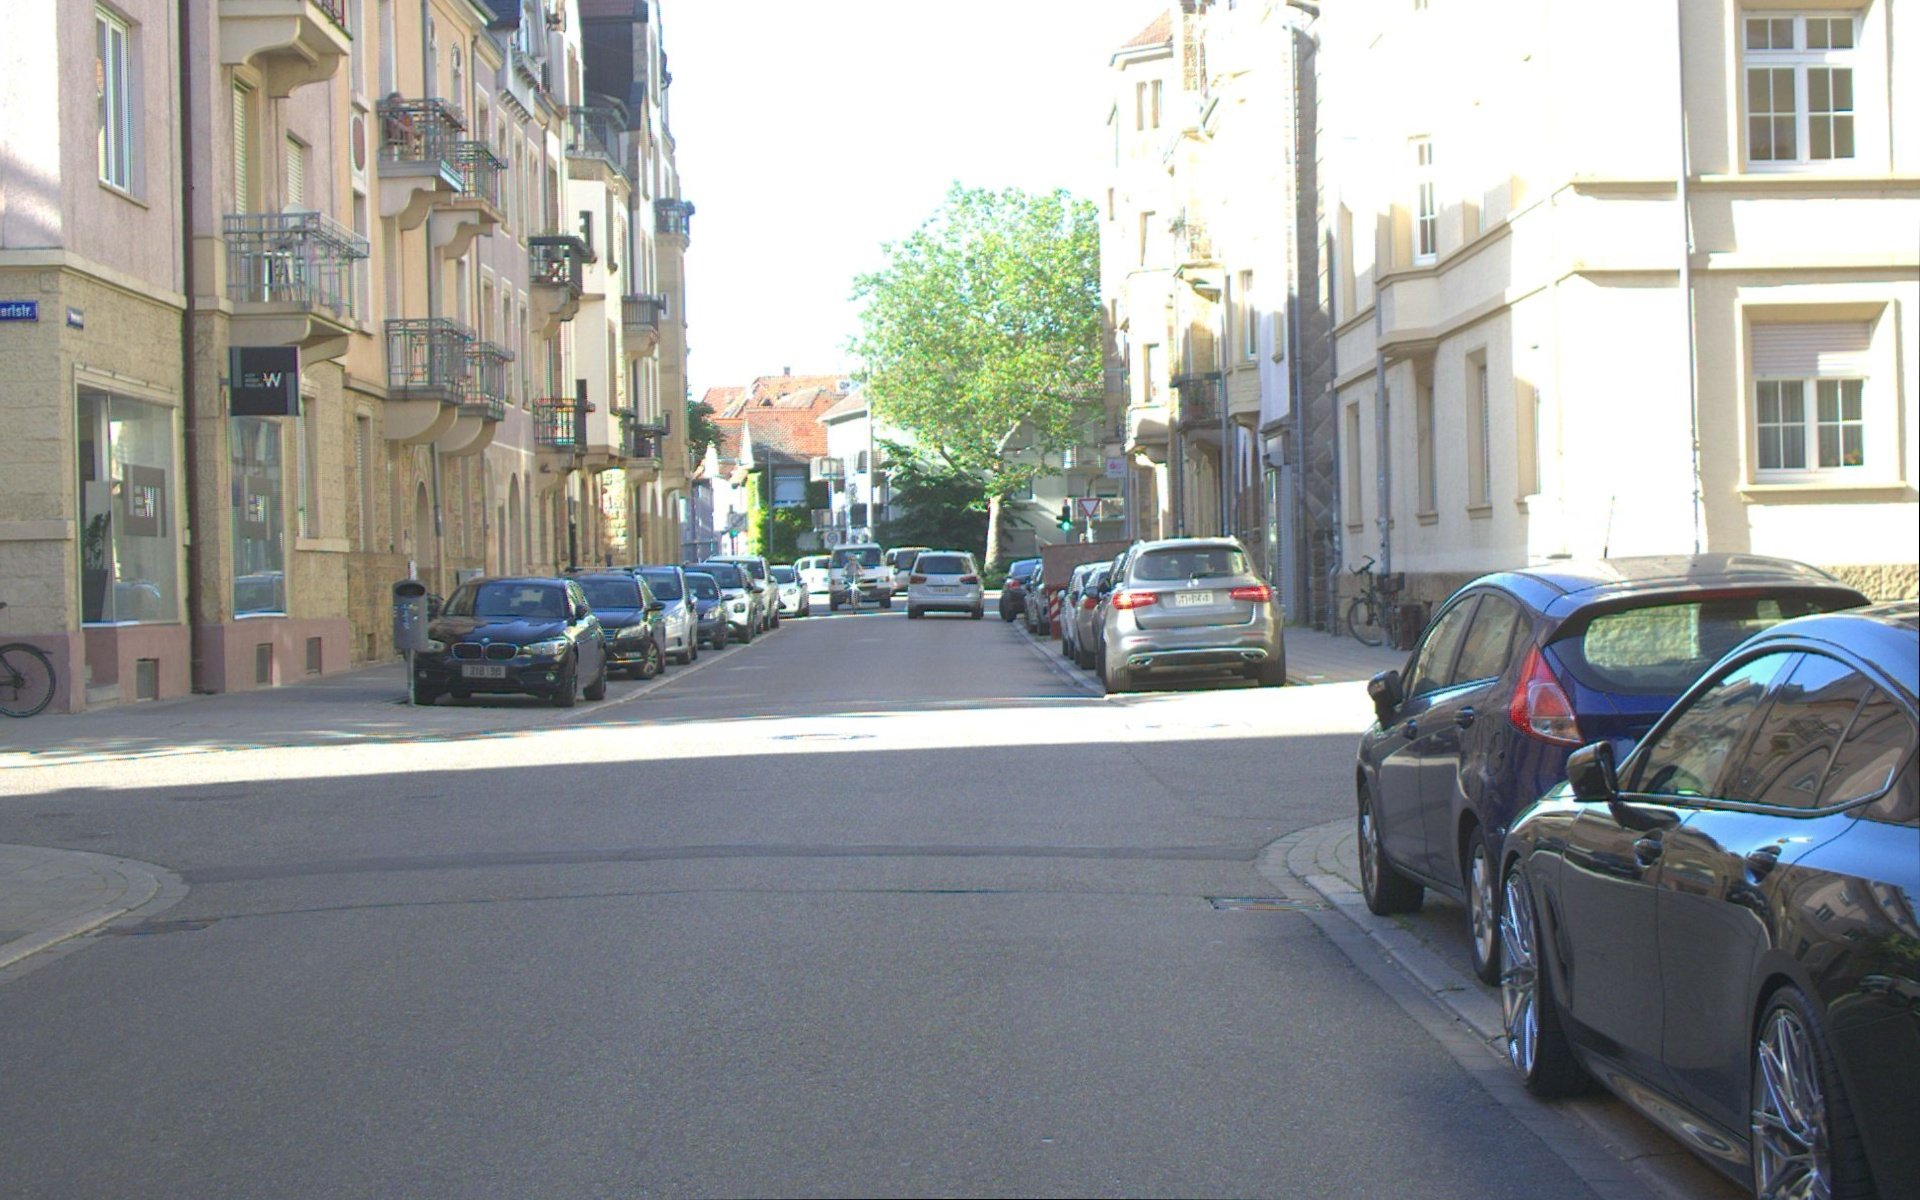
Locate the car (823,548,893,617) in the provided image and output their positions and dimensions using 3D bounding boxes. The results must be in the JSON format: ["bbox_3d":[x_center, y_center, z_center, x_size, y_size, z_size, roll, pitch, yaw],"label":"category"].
[{"bbox_3d":[-3.091,-0.505,104.579,2.003,1.993,4.487,2,-1,-1],"label":"car"}]

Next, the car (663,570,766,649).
[{"bbox_3d":[-5.350,0.224,75.471,2.003,1.613,4.487,2,-1,-1],"label":"car"}]

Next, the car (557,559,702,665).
[{"bbox_3d":[-5.370,0.202,56.405,2.003,1.613,4.487,2,-1,-1],"label":"car"}]

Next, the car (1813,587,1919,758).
[{"bbox_3d":[10.133,0.635,30.624,4.536,1.463,1.828,0,-2,-7],"label":"car"}]

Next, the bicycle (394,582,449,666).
[{"bbox_3d":[-8.490,0.374,54.248,0.541,1.297,1.866,1,0,1],"label":"bicycle"}]

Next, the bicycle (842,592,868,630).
[{"bbox_3d":[-2.924,0.318,96.001,0.662,1.015,2.066,-2,0,-1],"label":"bicycle"}]

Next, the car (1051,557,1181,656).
[{"bbox_3d":[2.423,0.134,54.260,1.838,1.427,4.028,-2,-1,0],"label":"car"}]

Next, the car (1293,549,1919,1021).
[{"bbox_3d":[2.528,0.587,13.322,1.762,1.466,4.085,-3,1,-4],"label":"car"}]

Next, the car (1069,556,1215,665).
[{"bbox_3d":[2.542,0.181,48.868,1.838,1.427,4.028,-2,-1,0],"label":"car"}]

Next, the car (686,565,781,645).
[{"bbox_3d":[-5.340,0.137,81.545,2.003,1.782,4.487,2,-1,-1],"label":"car"}]

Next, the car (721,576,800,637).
[{"bbox_3d":[-5.530,0.189,95.965,2.003,1.600,4.487,2,-1,-1],"label":"car"}]

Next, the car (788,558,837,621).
[{"bbox_3d":[-6.305,-0.427,147.356,1.838,2.525,4.175,-2,-2,0],"label":"car"}]

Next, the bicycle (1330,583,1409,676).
[{"bbox_3d":[5.648,0.387,47.552,0.761,1.242,2.592,0,0,-1],"label":"bicycle"}]

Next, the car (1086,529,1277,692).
[{"bbox_3d":[2.392,0.156,38.179,1.913,1.639,4.773,-2,-1,2],"label":"car"}]

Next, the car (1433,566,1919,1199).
[{"bbox_3d":[2.416,0.677,7.848,1.801,1.466,5.112,-3,1,-1],"label":"car"}]

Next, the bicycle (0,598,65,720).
[{"bbox_3d":[-9.523,0.551,32.669,1.898,1.131,0.648,0,2,-7],"label":"bicycle"}]

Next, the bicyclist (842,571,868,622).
[{"bbox_3d":[-2.926,-0.090,96.021,0.662,1.381,0.754,-2,-1,-1],"label":"bicyclist"}]

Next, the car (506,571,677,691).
[{"bbox_3d":[-5.194,0.441,48.942,2.003,1.577,4.487,2,-1,-1],"label":"car"}]

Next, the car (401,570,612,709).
[{"bbox_3d":[-5.020,0.433,38.558,1.679,1.422,4.273,2,0,1],"label":"car"}]

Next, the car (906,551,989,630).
[{"bbox_3d":[-0.328,-0.215,87.999,2.003,1.907,4.487,2,-1,-1],"label":"car"}]

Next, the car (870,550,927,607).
[{"bbox_3d":[-2.303,-0.770,128.111,2.003,1.993,4.487,2,-1,-1],"label":"car"}]

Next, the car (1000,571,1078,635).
[{"bbox_3d":[1.954,0.094,85.884,1.838,1.427,4.028,-2,-2,0],"label":"car"}]

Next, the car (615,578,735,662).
[{"bbox_3d":[-5.383,0.390,65.316,1.978,1.477,4.328,2,0,-1],"label":"car"}]

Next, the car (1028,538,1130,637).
[{"bbox_3d":[2.293,-0.213,67.063,1.838,1.781,4.028,-1,-2,0],"label":"car"}]

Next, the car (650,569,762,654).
[{"bbox_3d":[-5.133,0.238,69.967,2.003,1.613,4.487,2,-1,-1],"label":"car"}]
